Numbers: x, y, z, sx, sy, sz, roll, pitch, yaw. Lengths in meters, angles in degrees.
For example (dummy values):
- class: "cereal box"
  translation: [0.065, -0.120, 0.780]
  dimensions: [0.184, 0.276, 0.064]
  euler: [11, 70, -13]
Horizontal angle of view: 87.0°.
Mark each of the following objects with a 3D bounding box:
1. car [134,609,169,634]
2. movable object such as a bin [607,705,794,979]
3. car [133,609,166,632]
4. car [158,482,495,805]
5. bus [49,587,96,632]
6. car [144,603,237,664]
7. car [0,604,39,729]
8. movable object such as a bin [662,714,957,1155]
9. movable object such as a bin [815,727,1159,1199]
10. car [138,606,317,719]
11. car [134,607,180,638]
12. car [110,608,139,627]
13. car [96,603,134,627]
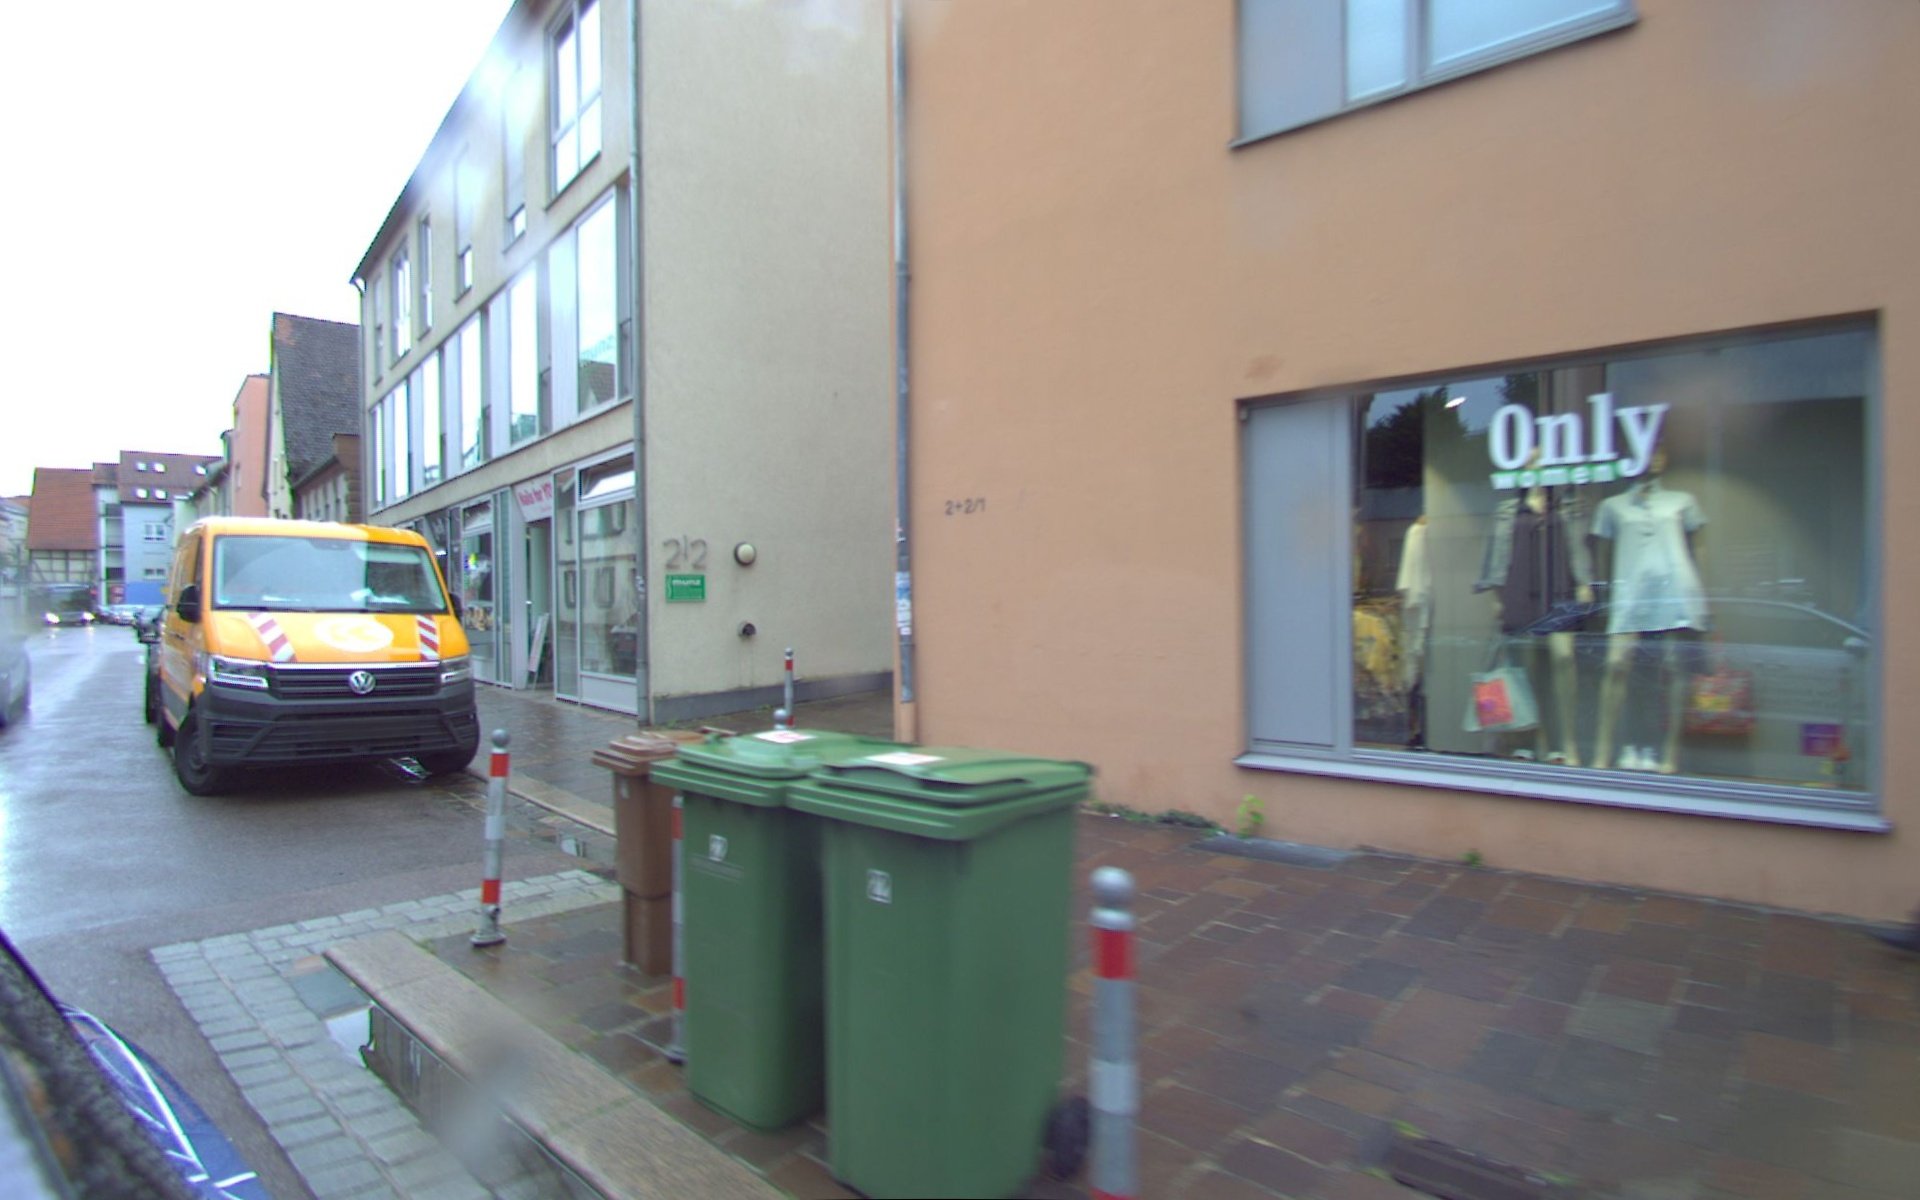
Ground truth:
- class: "car"
  translation: [-48.634, 1.287, 60.886]
  dimensions: [1.607, 1.377, 3.495]
  euler: [-1, 0, -39]
- class: "movable object such as a bin"
  translation: [-1.057, 0.936, 4.123]
  dimensions: [0.574, 0.934, 0.482]
  euler: [-1, 0, -40]
- class: "car"
  translation: [-51.370, 1.285, 64.110]
  dimensions: [1.607, 1.377, 3.495]
  euler: [-1, 0, -39]
- class: "car"
  translation: [-6.488, 0.323, 9.946]
  dimensions: [1.969, 2.256, 5.870]
  euler: [0, -1, -41]
- class: "bus"
  translation: [-67.059, 0.701, 76.439]
  dimensions: [2.572, 3.218, 7.385]
  euler: [0, -1, -42]
- class: "car"
  translation: [-21.185, 0.870, 27.792]
  dimensions: [1.714, 1.537, 3.936]
  euler: [0, -1, -42]
- class: "car"
  translation: [-13.020, 0.774, 12.647]
  dimensions: [1.917, 1.413, 4.428]
  euler: [0, 0, -38]
- class: "movable object such as a bin"
  translation: [-0.451, 0.917, 3.074]
  dimensions: [0.609, 1.044, 0.650]
  euler: [-1, -1, 40]
- class: "movable object such as a bin"
  translation: [0.081, 0.893, 2.590]
  dimensions: [0.609, 1.044, 0.650]
  euler: [-1, -2, 40]
- class: "car"
  translation: [-10.584, 0.794, 14.481]
  dimensions: [1.734, 1.366, 4.488]
  euler: [0, -1, -40]
- class: "car"
  translation: [-37.631, 1.032, 47.405]
  dimensions: [1.607, 1.377, 3.495]
  euler: [-1, 0, -39]
- class: "car"
  translation: [-62.787, 1.299, 76.078]
  dimensions: [1.607, 1.377, 3.495]
  euler: [-1, 0, -39]
- class: "car"
  translation: [-59.682, 1.056, 71.482]
  dimensions: [1.968, 1.608, 4.007]
  euler: [0, -1, -40]
